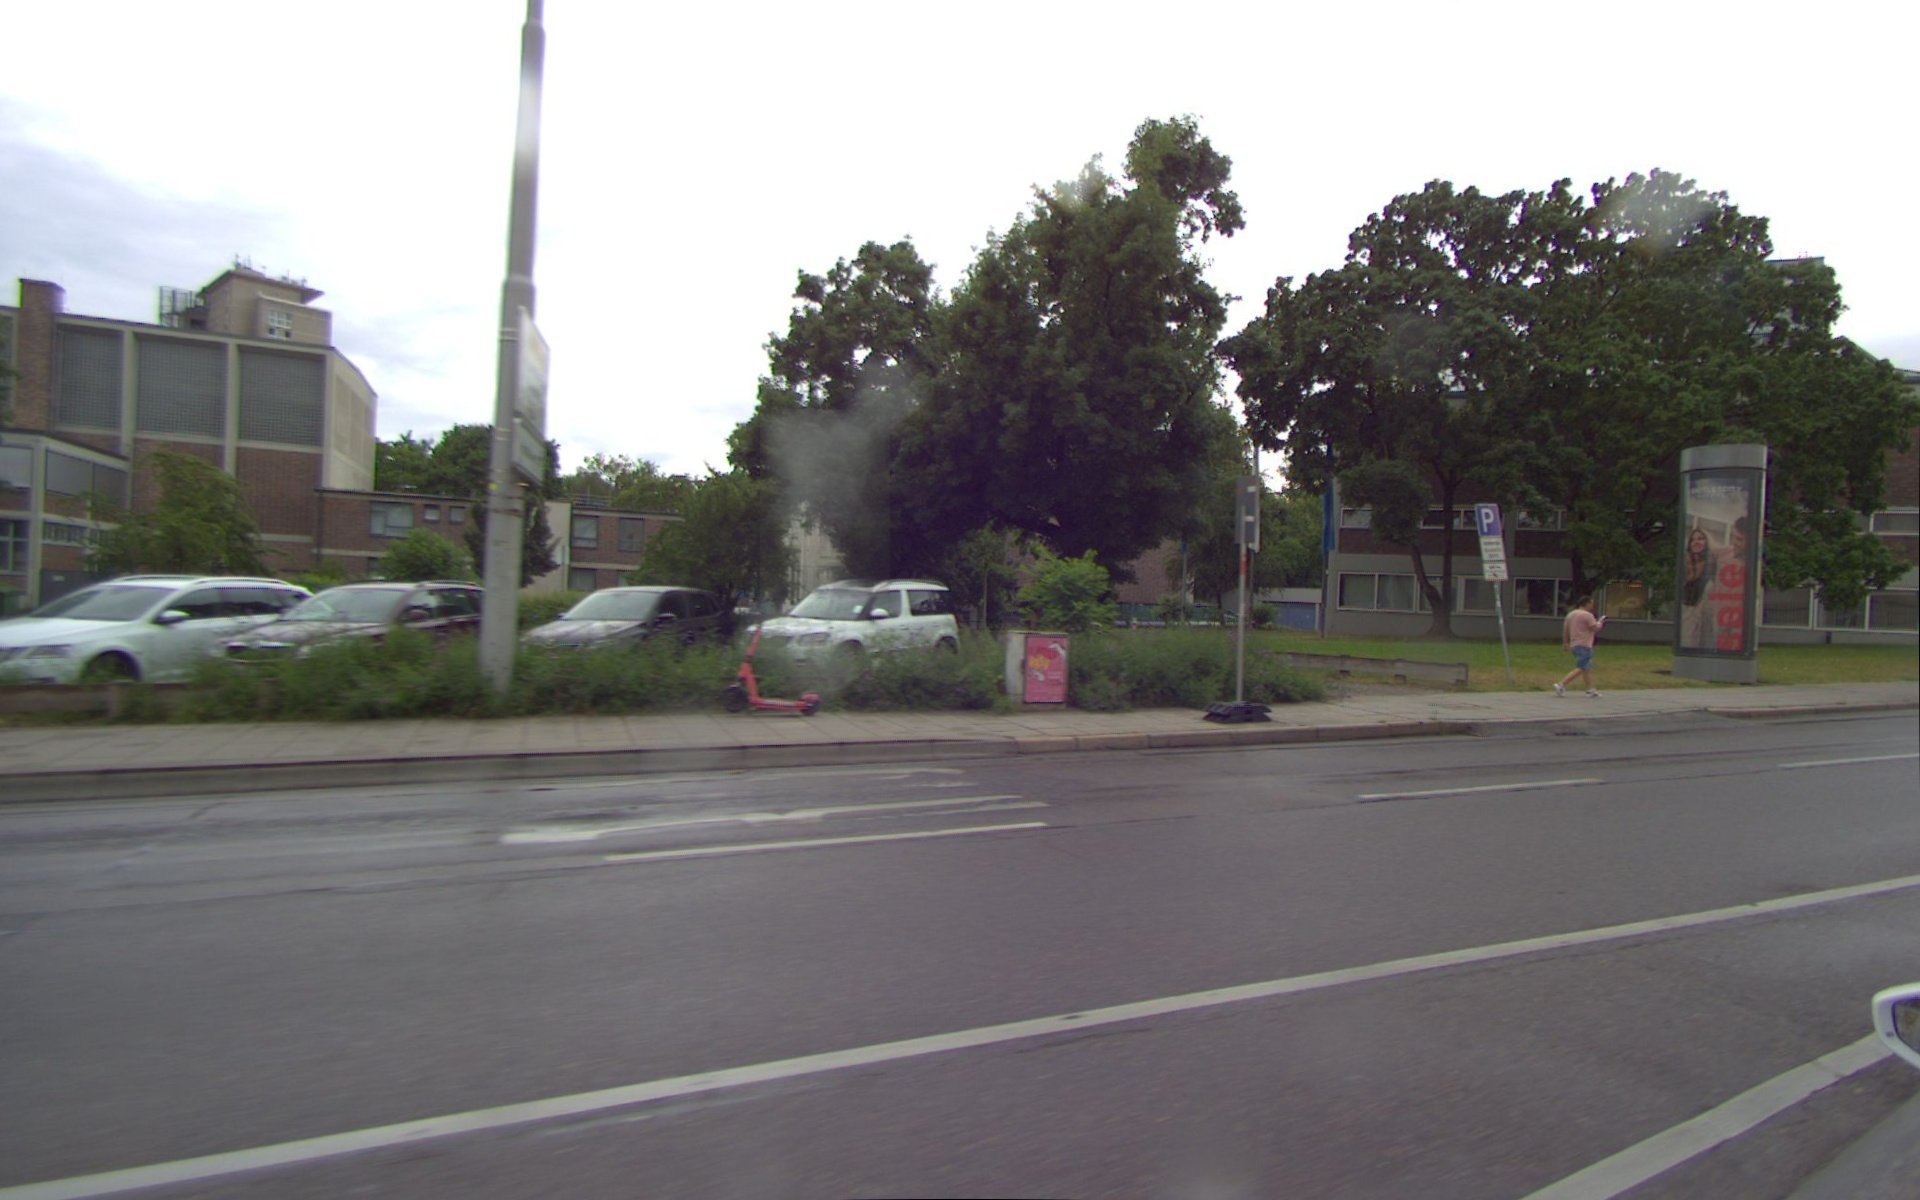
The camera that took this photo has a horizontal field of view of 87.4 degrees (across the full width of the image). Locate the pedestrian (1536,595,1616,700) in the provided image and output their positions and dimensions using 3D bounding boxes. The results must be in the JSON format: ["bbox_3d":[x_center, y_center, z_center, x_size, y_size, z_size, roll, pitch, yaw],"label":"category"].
[{"bbox_3d":[10.387,0.796,16.957,0.898,1.709,0.670,2,1,-16],"label":"pedestrian"}]

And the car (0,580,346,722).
[{"bbox_3d":[-10.000,0.475,12.332,1.866,1.367,4.382,2,1,7],"label":"car"}]

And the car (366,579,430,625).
[{"bbox_3d":[-27.302,0.067,48.906,1.969,2.041,3.983,2,1,-18],"label":"car"}]

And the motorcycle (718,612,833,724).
[{"bbox_3d":[-2.202,0.804,12.008,1.249,1.264,0.513,2,1,-22],"label":"motorcycle"}]

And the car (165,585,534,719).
[{"bbox_3d":[-7.535,0.526,13.079,1.867,1.367,4.584,2,1,2],"label":"car"}]

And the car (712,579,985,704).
[{"bbox_3d":[-1.578,0.556,15.942,1.837,1.631,4.514,3,1,33],"label":"car"}]

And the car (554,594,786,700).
[{"bbox_3d":[-4.327,0.620,15.577,1.806,1.367,3.598,2,1,15],"label":"car"}]
